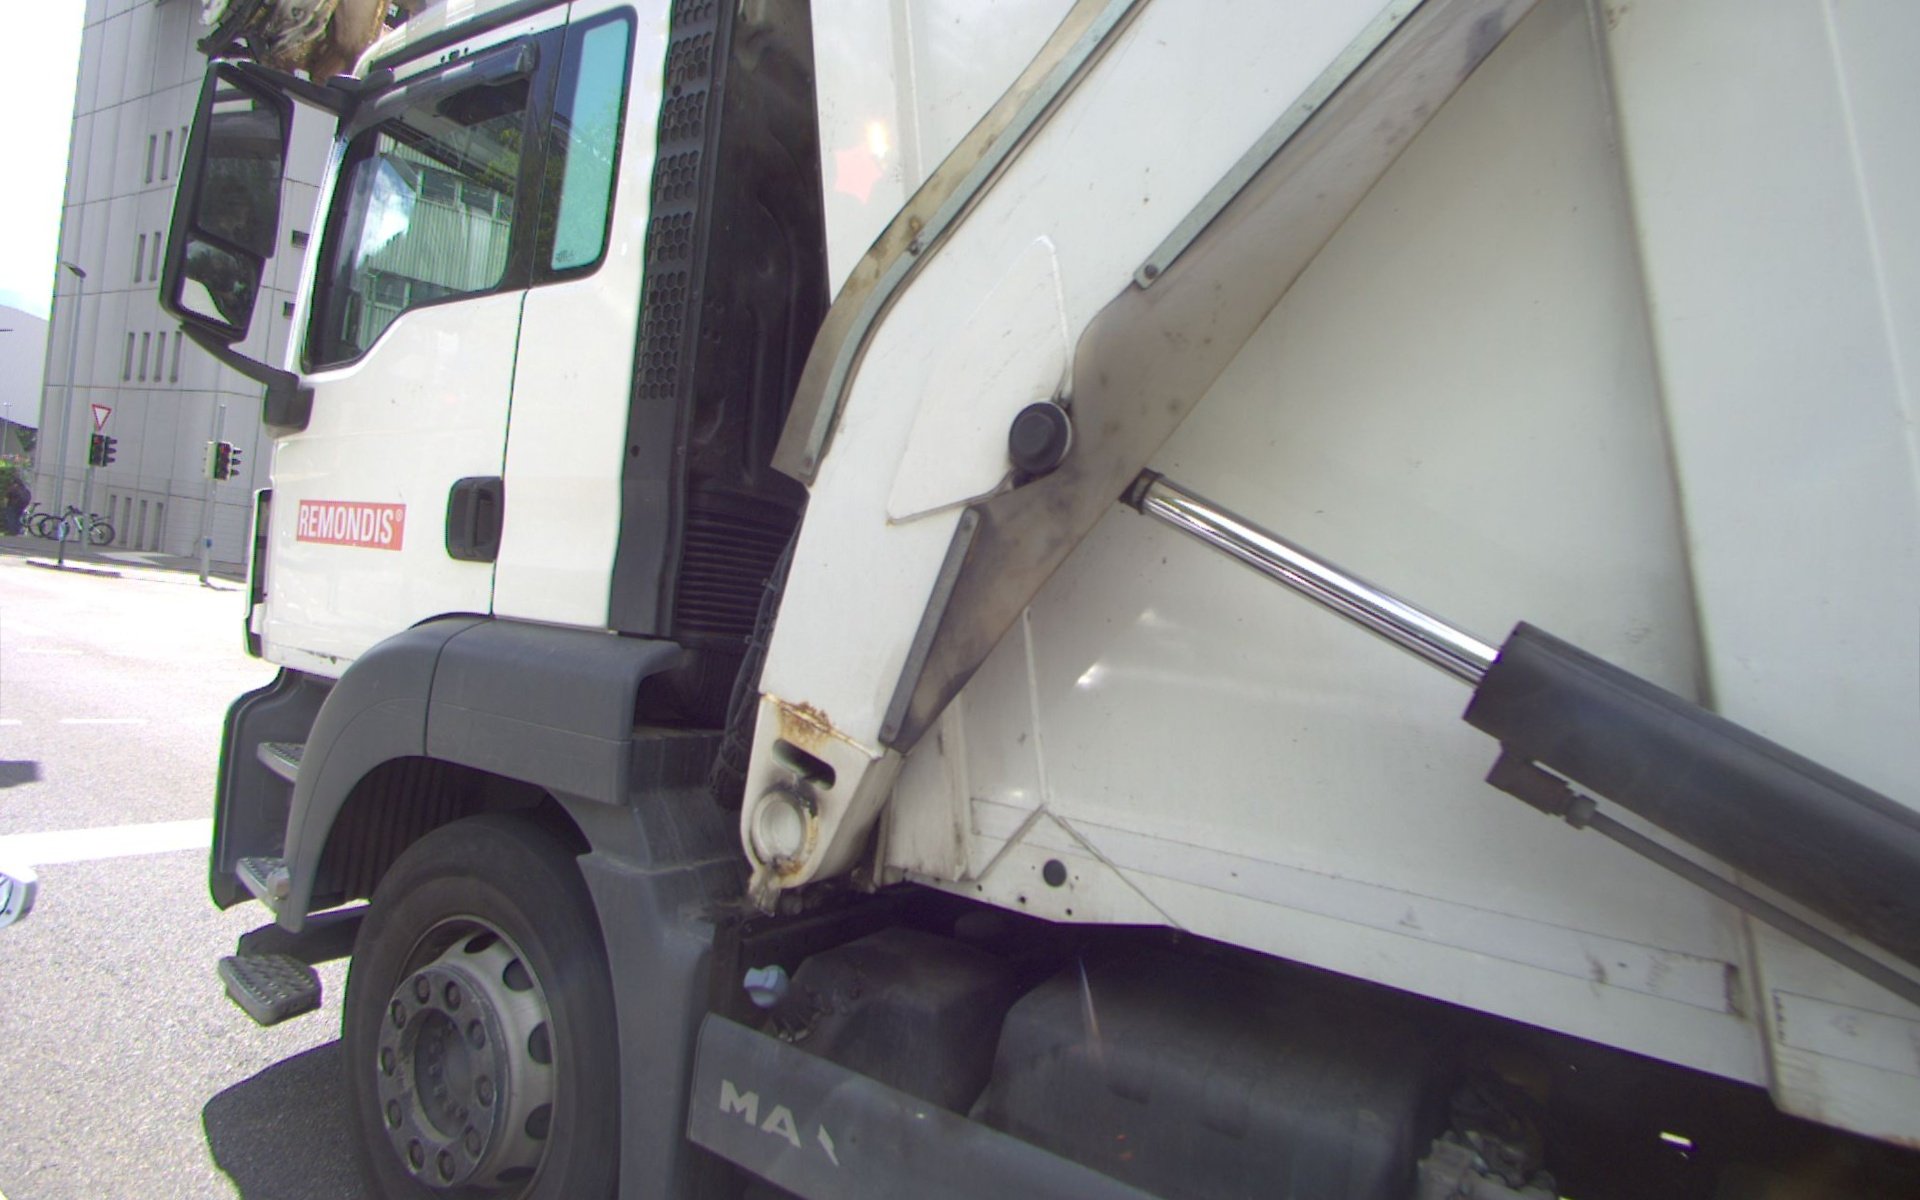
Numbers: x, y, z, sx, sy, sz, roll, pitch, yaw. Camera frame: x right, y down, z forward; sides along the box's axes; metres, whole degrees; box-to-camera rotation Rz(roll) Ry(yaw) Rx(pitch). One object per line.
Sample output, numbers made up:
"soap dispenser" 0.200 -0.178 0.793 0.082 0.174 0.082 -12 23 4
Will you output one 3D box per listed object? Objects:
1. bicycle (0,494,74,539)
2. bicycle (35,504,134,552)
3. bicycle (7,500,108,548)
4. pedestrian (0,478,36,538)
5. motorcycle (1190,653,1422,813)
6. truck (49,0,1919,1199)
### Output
"bicycle" -29.297 -2.641 31.487 2.197 1.099 0.474 8 -1 -23
"bicycle" -27.013 -2.215 31.063 2.166 1.099 0.474 8 -1 -23
"bicycle" -27.961 -2.335 31.202 2.197 1.099 0.474 8 -1 -23
"pedestrian" -28.285 -2.736 30.039 0.647 1.659 0.534 7 -1 -5
"motorcycle" 3.416 1.261 10.022 1.980 1.239 0.687 6 2 32
"truck" 2.813 -0.184 1.094 10.003 3.958 2.494 6 -1 31
